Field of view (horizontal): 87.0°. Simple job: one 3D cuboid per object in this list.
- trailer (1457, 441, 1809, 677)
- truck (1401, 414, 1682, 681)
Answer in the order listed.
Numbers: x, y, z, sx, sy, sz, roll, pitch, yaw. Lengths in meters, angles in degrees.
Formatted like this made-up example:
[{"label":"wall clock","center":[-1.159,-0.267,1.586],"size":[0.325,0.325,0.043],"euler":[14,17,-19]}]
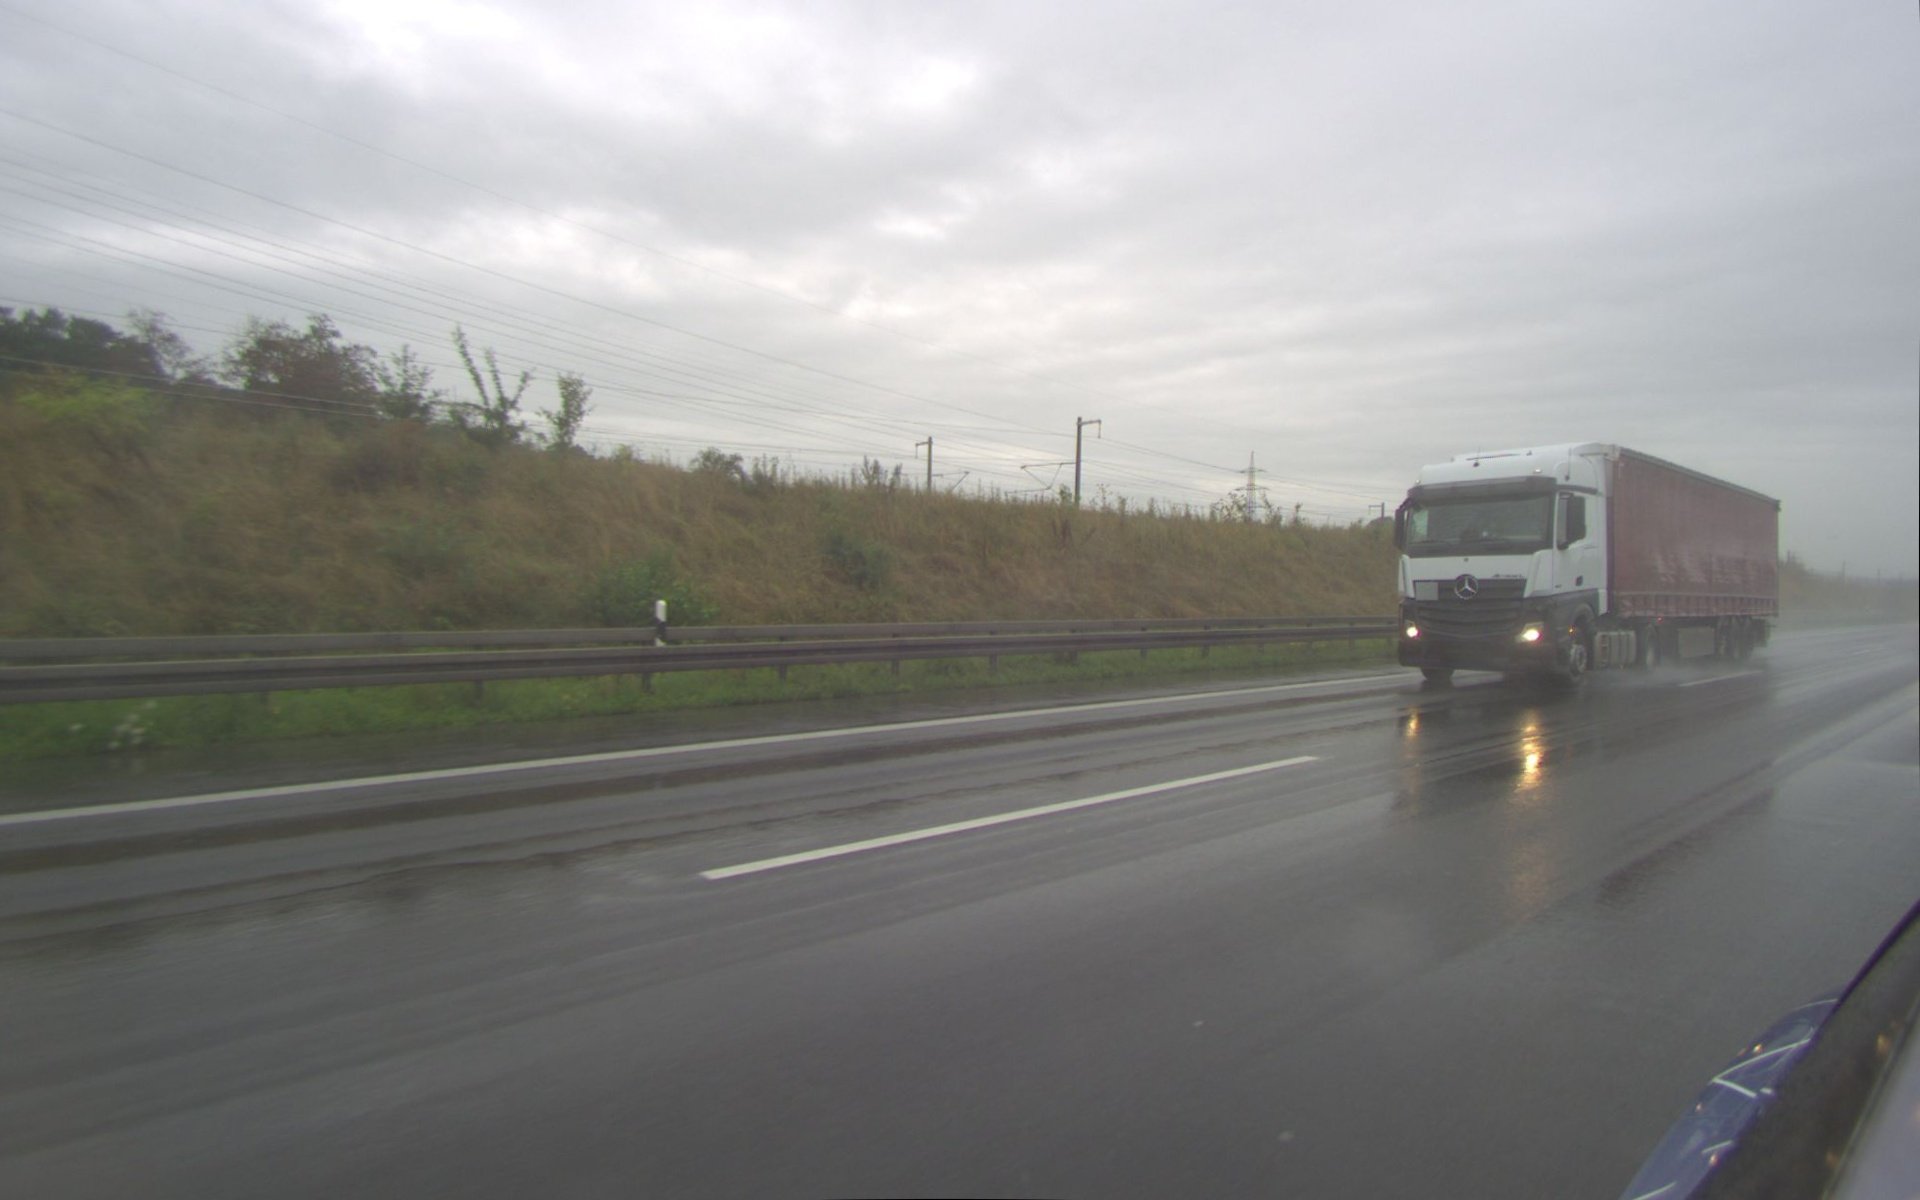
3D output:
[{"label":"trailer","center":[15.884,-0.682,22.714],"size":[16.256,3.813,2.484],"euler":[0,0,-41]},{"label":"truck","center":[10.402,-0.783,17.839],"size":[6.090,3.938,2.456],"euler":[0,0,-41]}]
